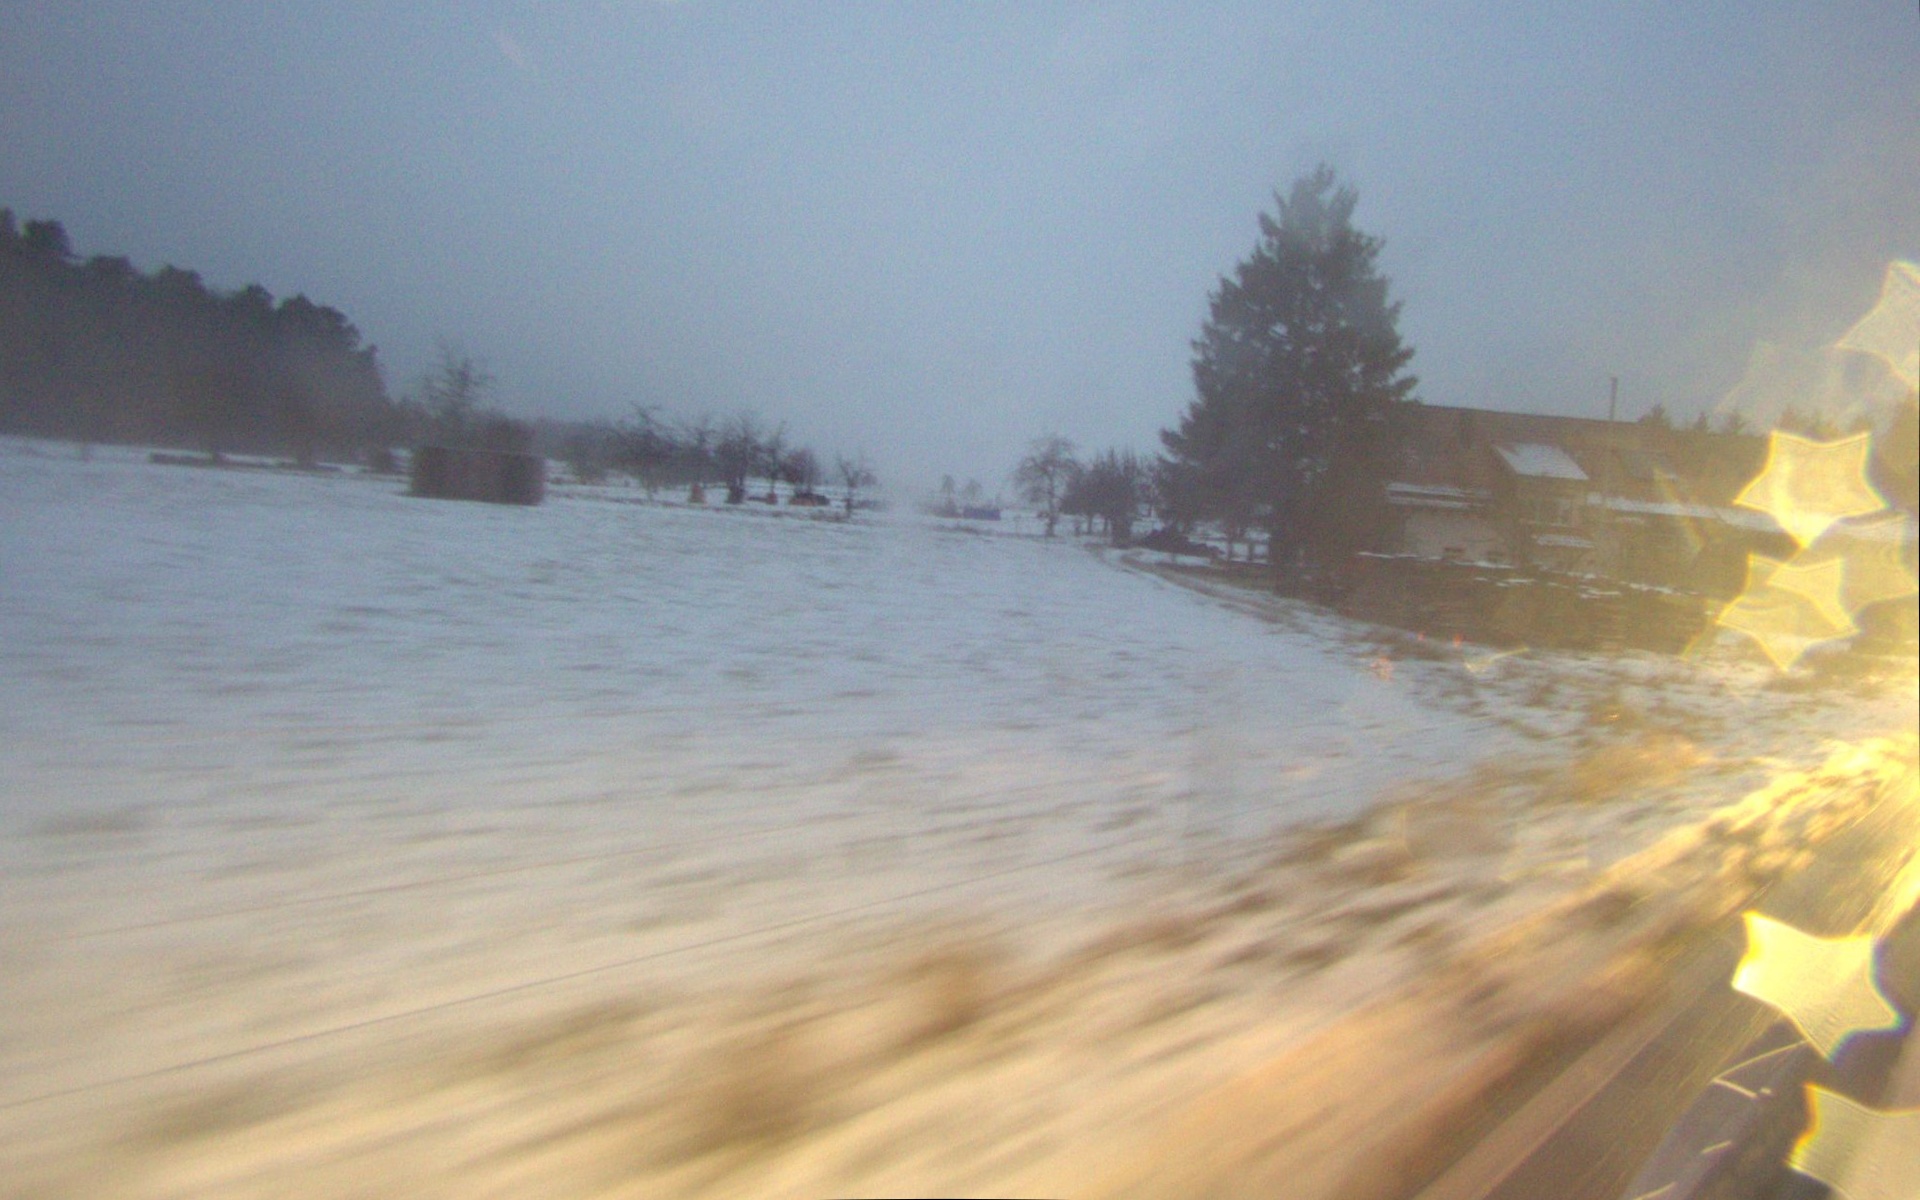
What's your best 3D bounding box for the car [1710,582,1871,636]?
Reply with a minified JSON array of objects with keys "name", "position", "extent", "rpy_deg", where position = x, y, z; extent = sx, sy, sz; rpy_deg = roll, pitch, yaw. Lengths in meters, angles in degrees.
[{"name":"car","position":[32.318,0.316,39.516],"extent":[1.825,1.677,4.417],"rpy_deg":[3,3,-32]}]
